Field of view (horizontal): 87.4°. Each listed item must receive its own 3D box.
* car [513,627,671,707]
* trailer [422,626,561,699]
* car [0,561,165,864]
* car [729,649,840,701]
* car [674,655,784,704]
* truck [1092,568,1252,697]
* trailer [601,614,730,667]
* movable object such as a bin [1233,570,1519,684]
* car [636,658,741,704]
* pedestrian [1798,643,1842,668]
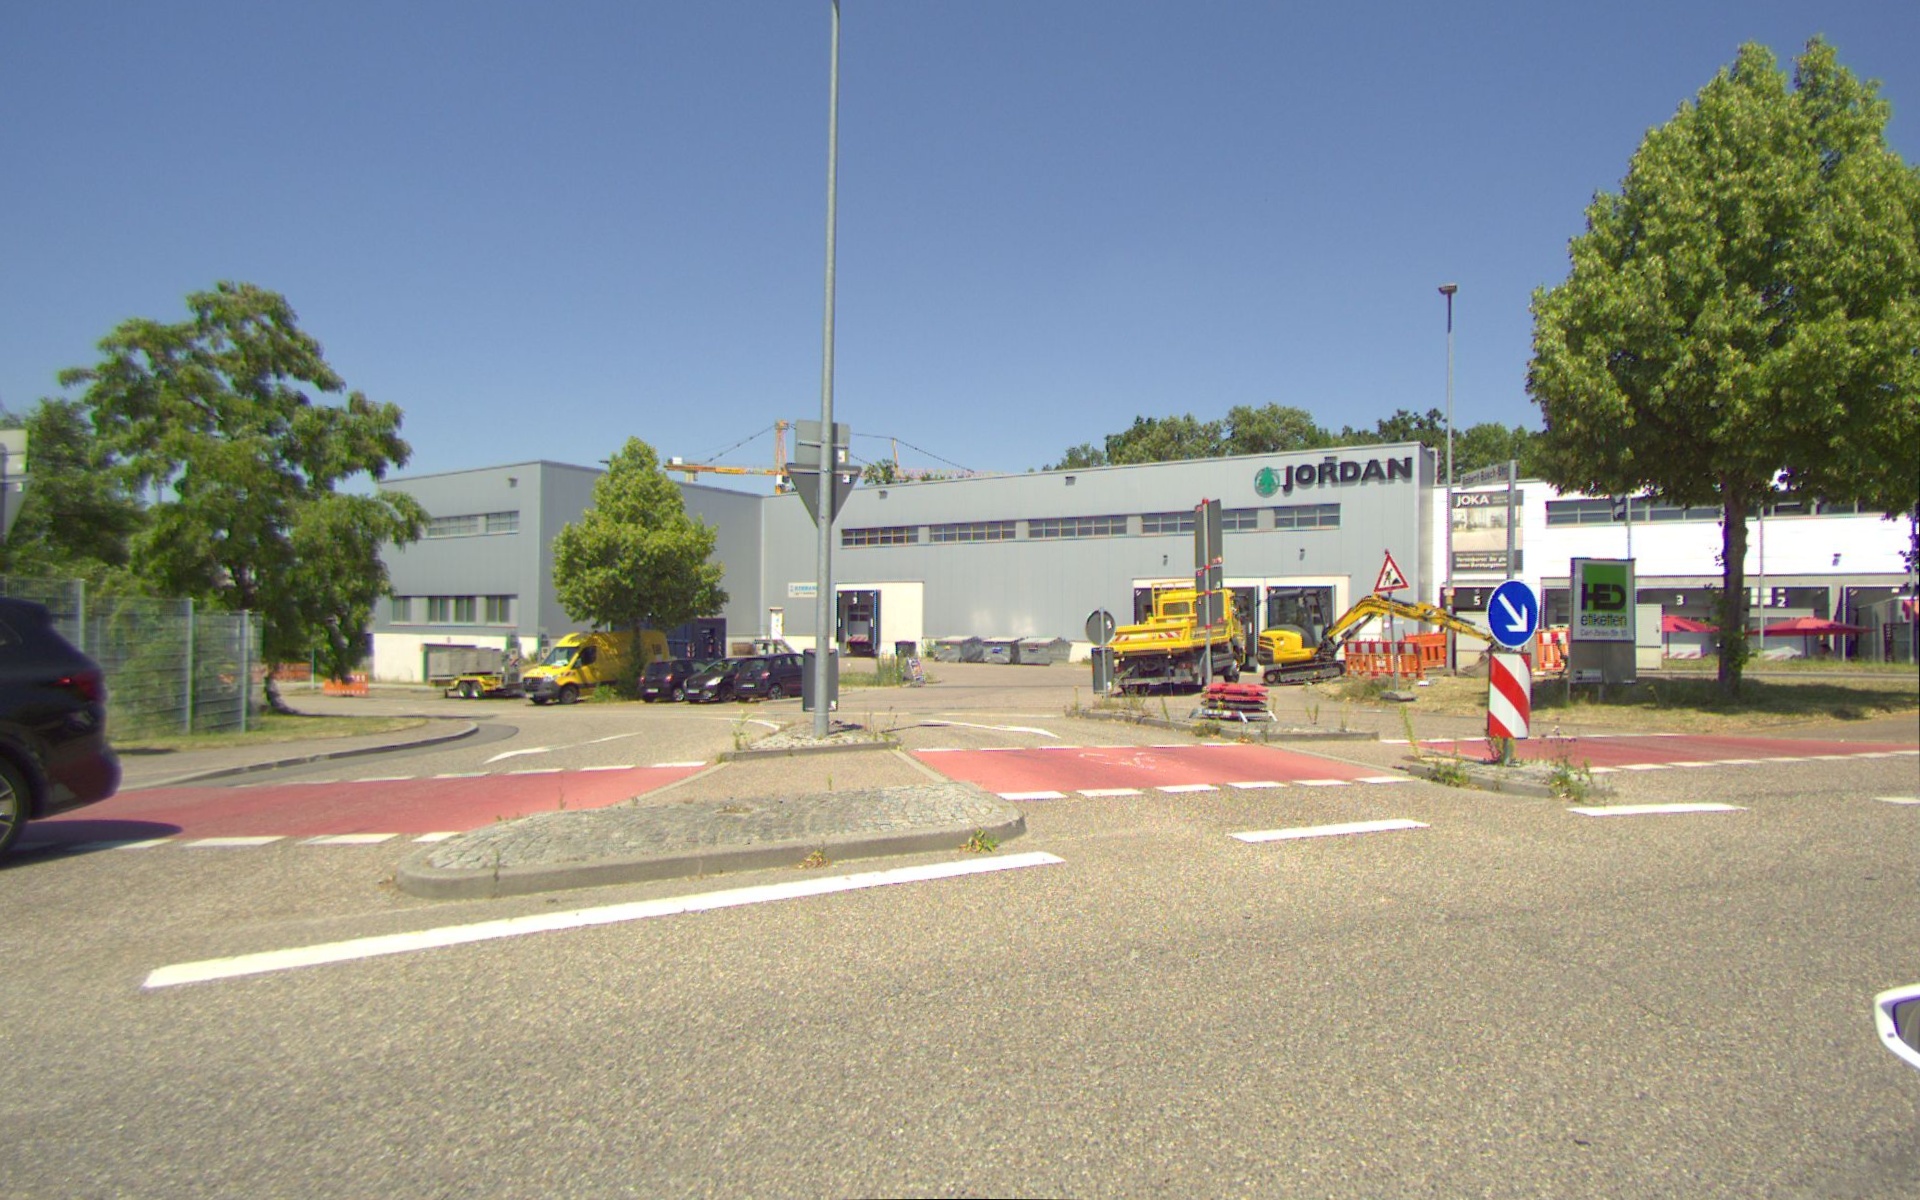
[{"bbox_3d":[-13.981,2.459,38.577,1.965,2.769,5.786,-1,-1,31],"label":"car"},{"bbox_3d":[-20.003,2.649,42.875,5.421,2.895,2.660,-2,-1,29],"label":"trailer"},{"bbox_3d":[-6.632,0.590,4.446,1.834,1.655,4.600,-3,-3,20],"label":"car"},{"bbox_3d":[-5.829,2.486,33.717,1.599,1.482,3.662,-3,-2,33],"label":"car"},{"bbox_3d":[-7.891,2.712,34.613,1.563,1.527,3.775,-2,-3,30],"label":"car"},{"bbox_3d":[6.158,0.847,28.334,2.549,3.177,6.414,-4,-1,28],"label":"truck"},{"bbox_3d":[-15.948,2.139,54.210,7.290,2.452,2.660,2,-2,35],"label":"trailer"},{"bbox_3d":[10.581,0.832,25.979,6.476,2.614,1.992,-4,-4,38],"label":"movable object such as a bin"},{"bbox_3d":[-9.796,2.907,36.422,1.599,1.497,3.607,-2,-3,31],"label":"car"},{"bbox_3d":[24.552,1.572,28.691,0.403,0.704,0.859,1,-3,-34],"label":"pedestrian"}]
